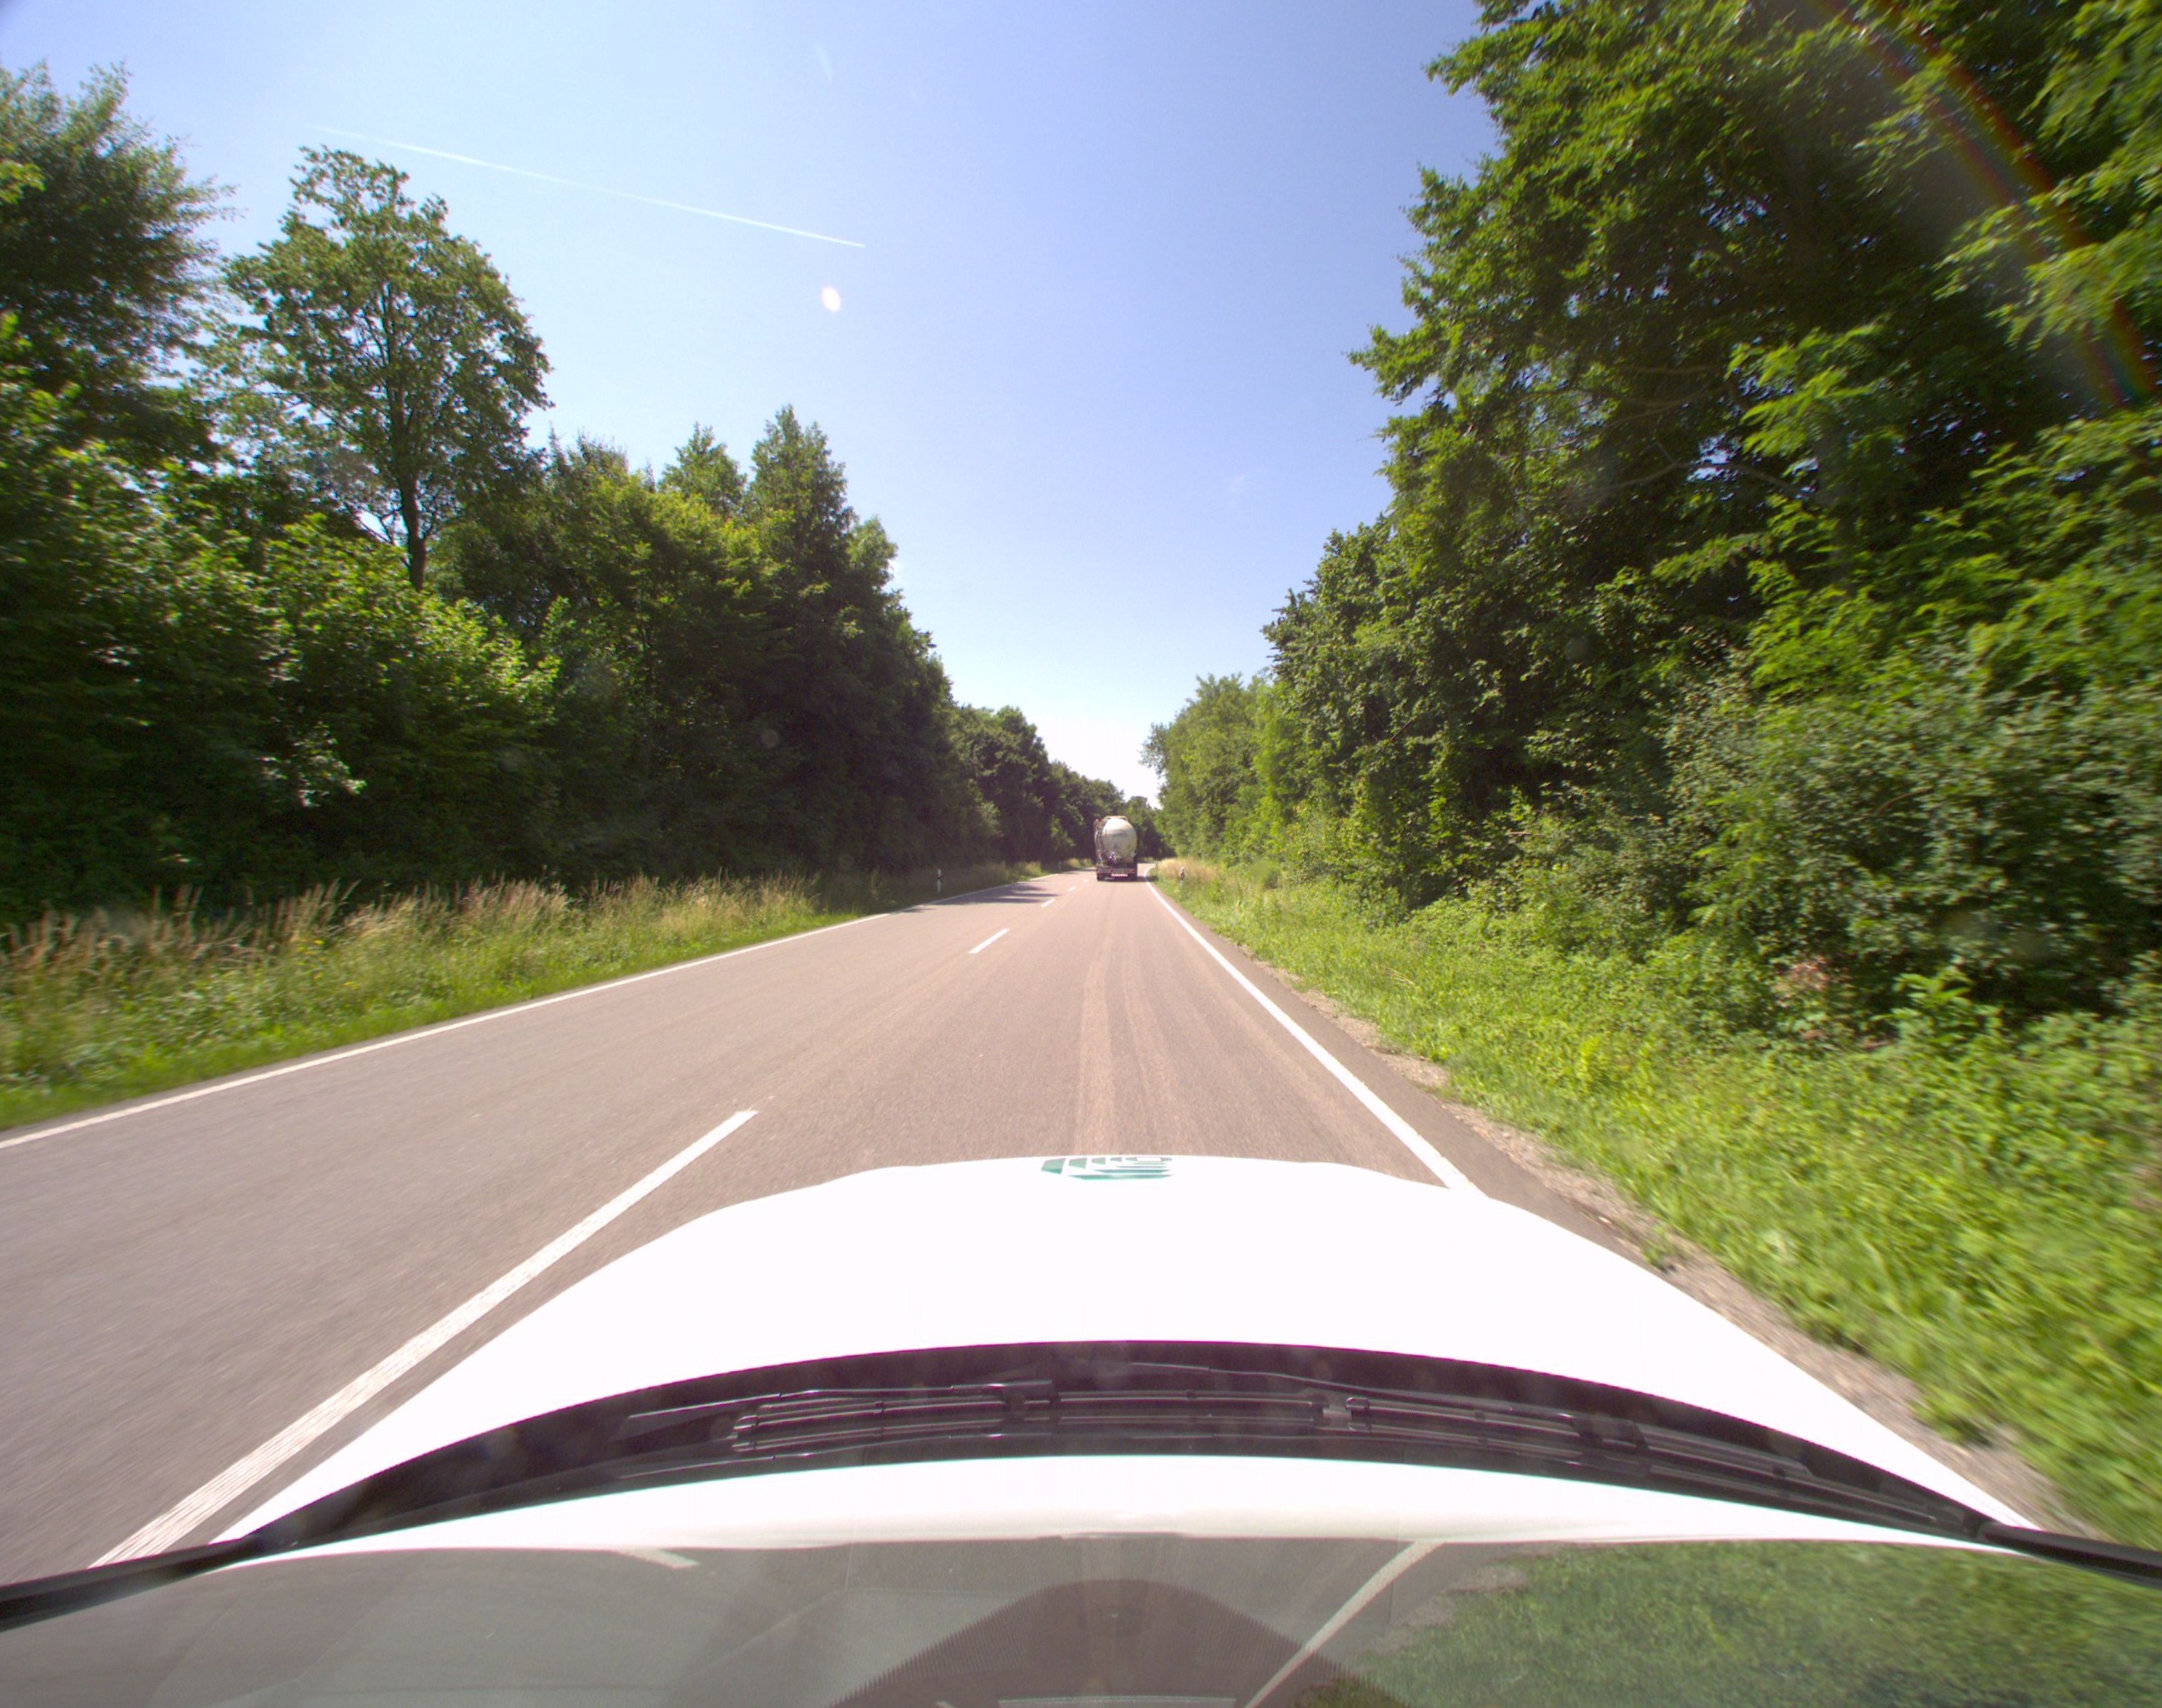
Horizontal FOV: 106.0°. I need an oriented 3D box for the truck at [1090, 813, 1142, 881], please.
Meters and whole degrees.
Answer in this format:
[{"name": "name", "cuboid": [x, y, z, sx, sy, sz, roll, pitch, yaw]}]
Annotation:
[{"name": "truck", "cuboid": [2.348, -0.398, 55.596, 3.037, 3.998, 15.644, 0, 0, 2]}]
